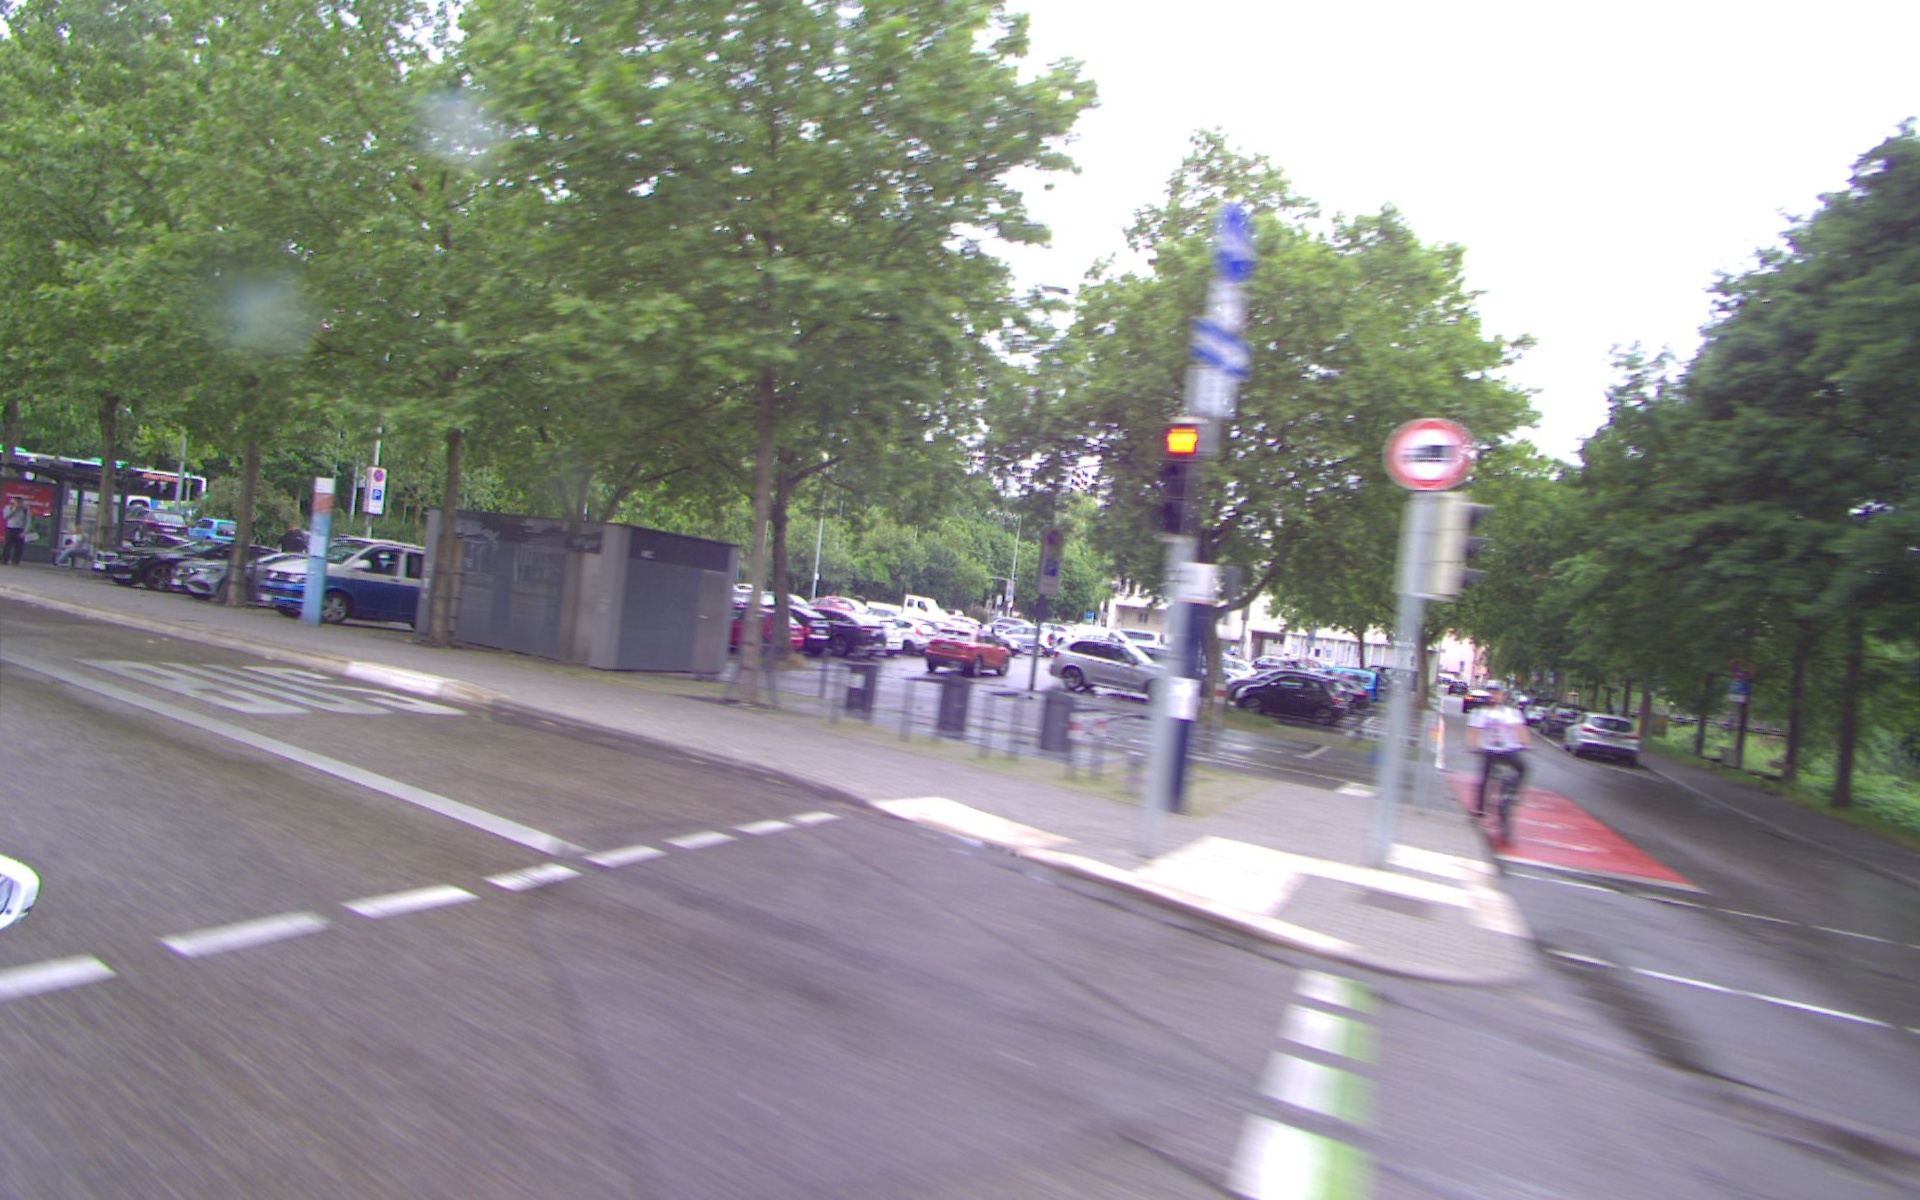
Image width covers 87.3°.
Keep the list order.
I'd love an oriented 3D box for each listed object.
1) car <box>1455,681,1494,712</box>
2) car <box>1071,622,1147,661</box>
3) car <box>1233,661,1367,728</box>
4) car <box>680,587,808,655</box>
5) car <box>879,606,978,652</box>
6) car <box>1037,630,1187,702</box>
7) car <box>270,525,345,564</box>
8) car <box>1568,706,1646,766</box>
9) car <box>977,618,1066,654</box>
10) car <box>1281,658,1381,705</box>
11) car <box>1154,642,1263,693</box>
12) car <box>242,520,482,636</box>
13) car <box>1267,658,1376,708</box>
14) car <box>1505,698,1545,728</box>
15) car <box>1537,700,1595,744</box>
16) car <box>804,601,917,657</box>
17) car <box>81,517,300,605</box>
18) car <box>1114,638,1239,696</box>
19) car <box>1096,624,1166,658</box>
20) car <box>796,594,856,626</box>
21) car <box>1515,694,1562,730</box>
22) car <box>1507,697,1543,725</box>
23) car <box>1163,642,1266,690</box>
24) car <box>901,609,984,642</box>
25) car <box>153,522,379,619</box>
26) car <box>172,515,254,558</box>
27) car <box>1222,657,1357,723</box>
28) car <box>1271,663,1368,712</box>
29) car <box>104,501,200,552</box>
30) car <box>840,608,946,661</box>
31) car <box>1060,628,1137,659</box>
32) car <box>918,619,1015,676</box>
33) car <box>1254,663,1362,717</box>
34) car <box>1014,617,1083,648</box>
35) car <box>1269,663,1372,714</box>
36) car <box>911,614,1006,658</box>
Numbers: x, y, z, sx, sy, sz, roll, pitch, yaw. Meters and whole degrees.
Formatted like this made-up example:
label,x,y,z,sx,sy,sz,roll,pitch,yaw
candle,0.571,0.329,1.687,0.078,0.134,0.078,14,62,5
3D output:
label,x,y,z,sx,sy,sz,roll,pitch,yaw
car,30.898,5.814,60.352,1.728,1.564,3.995,6,-2,31
car,10.089,2.793,68.288,4.513,2.037,1.999,6,-1,26
car,11.364,3.126,33.631,3.944,1.609,1.806,7,-1,24
car,-6.862,0.666,32.006,3.534,1.670,1.601,6,-1,21
car,-1.460,1.346,46.808,4.128,1.568,1.811,6,-2,26
car,5.114,2.186,33.828,4.504,1.785,1.806,7,-1,24
car,-33.540,-2.858,51.711,3.545,1.586,1.635,7,-1,28
car,21.160,4.404,33.018,1.859,1.564,3.995,6,-2,31
car,3.466,2.036,56.635,4.510,1.453,2.001,6,-2,21
car,19.092,4.173,51.733,4.514,1.778,1.936,6,-2,26
car,11.660,3.177,47.192,4.514,1.778,1.936,6,-2,26
car,-13.190,-0.423,22.443,1.936,1.946,3.997,7,-3,30
car,17.169,3.934,47.812,4.514,1.778,1.936,6,-2,26
car,35.484,7.077,63.143,1.967,1.564,3.995,6,-2,31
car,26.663,5.338,44.361,1.967,1.564,3.995,6,-2,31
car,-3.878,1.124,39.120,3.932,1.670,1.823,6,-2,30
car,-19.656,-0.938,25.880,1.714,1.525,3.999,7,-4,30
car,8.854,2.730,41.199,4.514,1.778,1.936,6,-2,26
car,12.385,2.974,72.750,4.510,1.869,2.001,6,-1,21
car,-8.338,0.620,62.659,3.353,1.534,1.657,6,-1,34
car,30.522,5.903,53.051,1.967,1.564,3.995,6,-2,31
car,38.473,7.524,68.462,1.967,1.564,3.995,6,-2,31
car,12.692,3.308,50.215,4.514,1.778,1.936,6,-2,26
car,-1.072,1.556,61.414,4.510,1.453,2.001,6,-2,21
car,-16.943,-0.666,24.763,1.885,1.667,3.999,7,-4,30
car,-36.228,-3.096,48.805,3.587,1.637,1.685,6,-2,28
car,11.785,3.183,35.985,4.267,1.730,1.806,7,-1,24
car,16.024,3.889,44.844,3.833,1.606,1.806,7,-1,24
car,-37.436,-3.397,46.608,4.154,1.847,1.835,6,-2,28
car,-2.805,1.424,41.946,3.932,1.670,1.823,6,-2,30
car,9.057,2.860,65.806,4.510,1.453,2.001,6,-2,21
car,0.304,1.658,34.702,1.773,1.640,4.133,7,-1,23
car,14.056,3.599,40.629,3.833,1.606,1.806,7,-1,24
car,6.439,2.369,72.989,4.510,1.673,1.886,6,-2,21
car,15.332,3.739,42.771,3.833,1.606,1.806,7,-1,24
car,-0.069,1.755,48.764,4.128,1.568,1.811,6,-2,26
